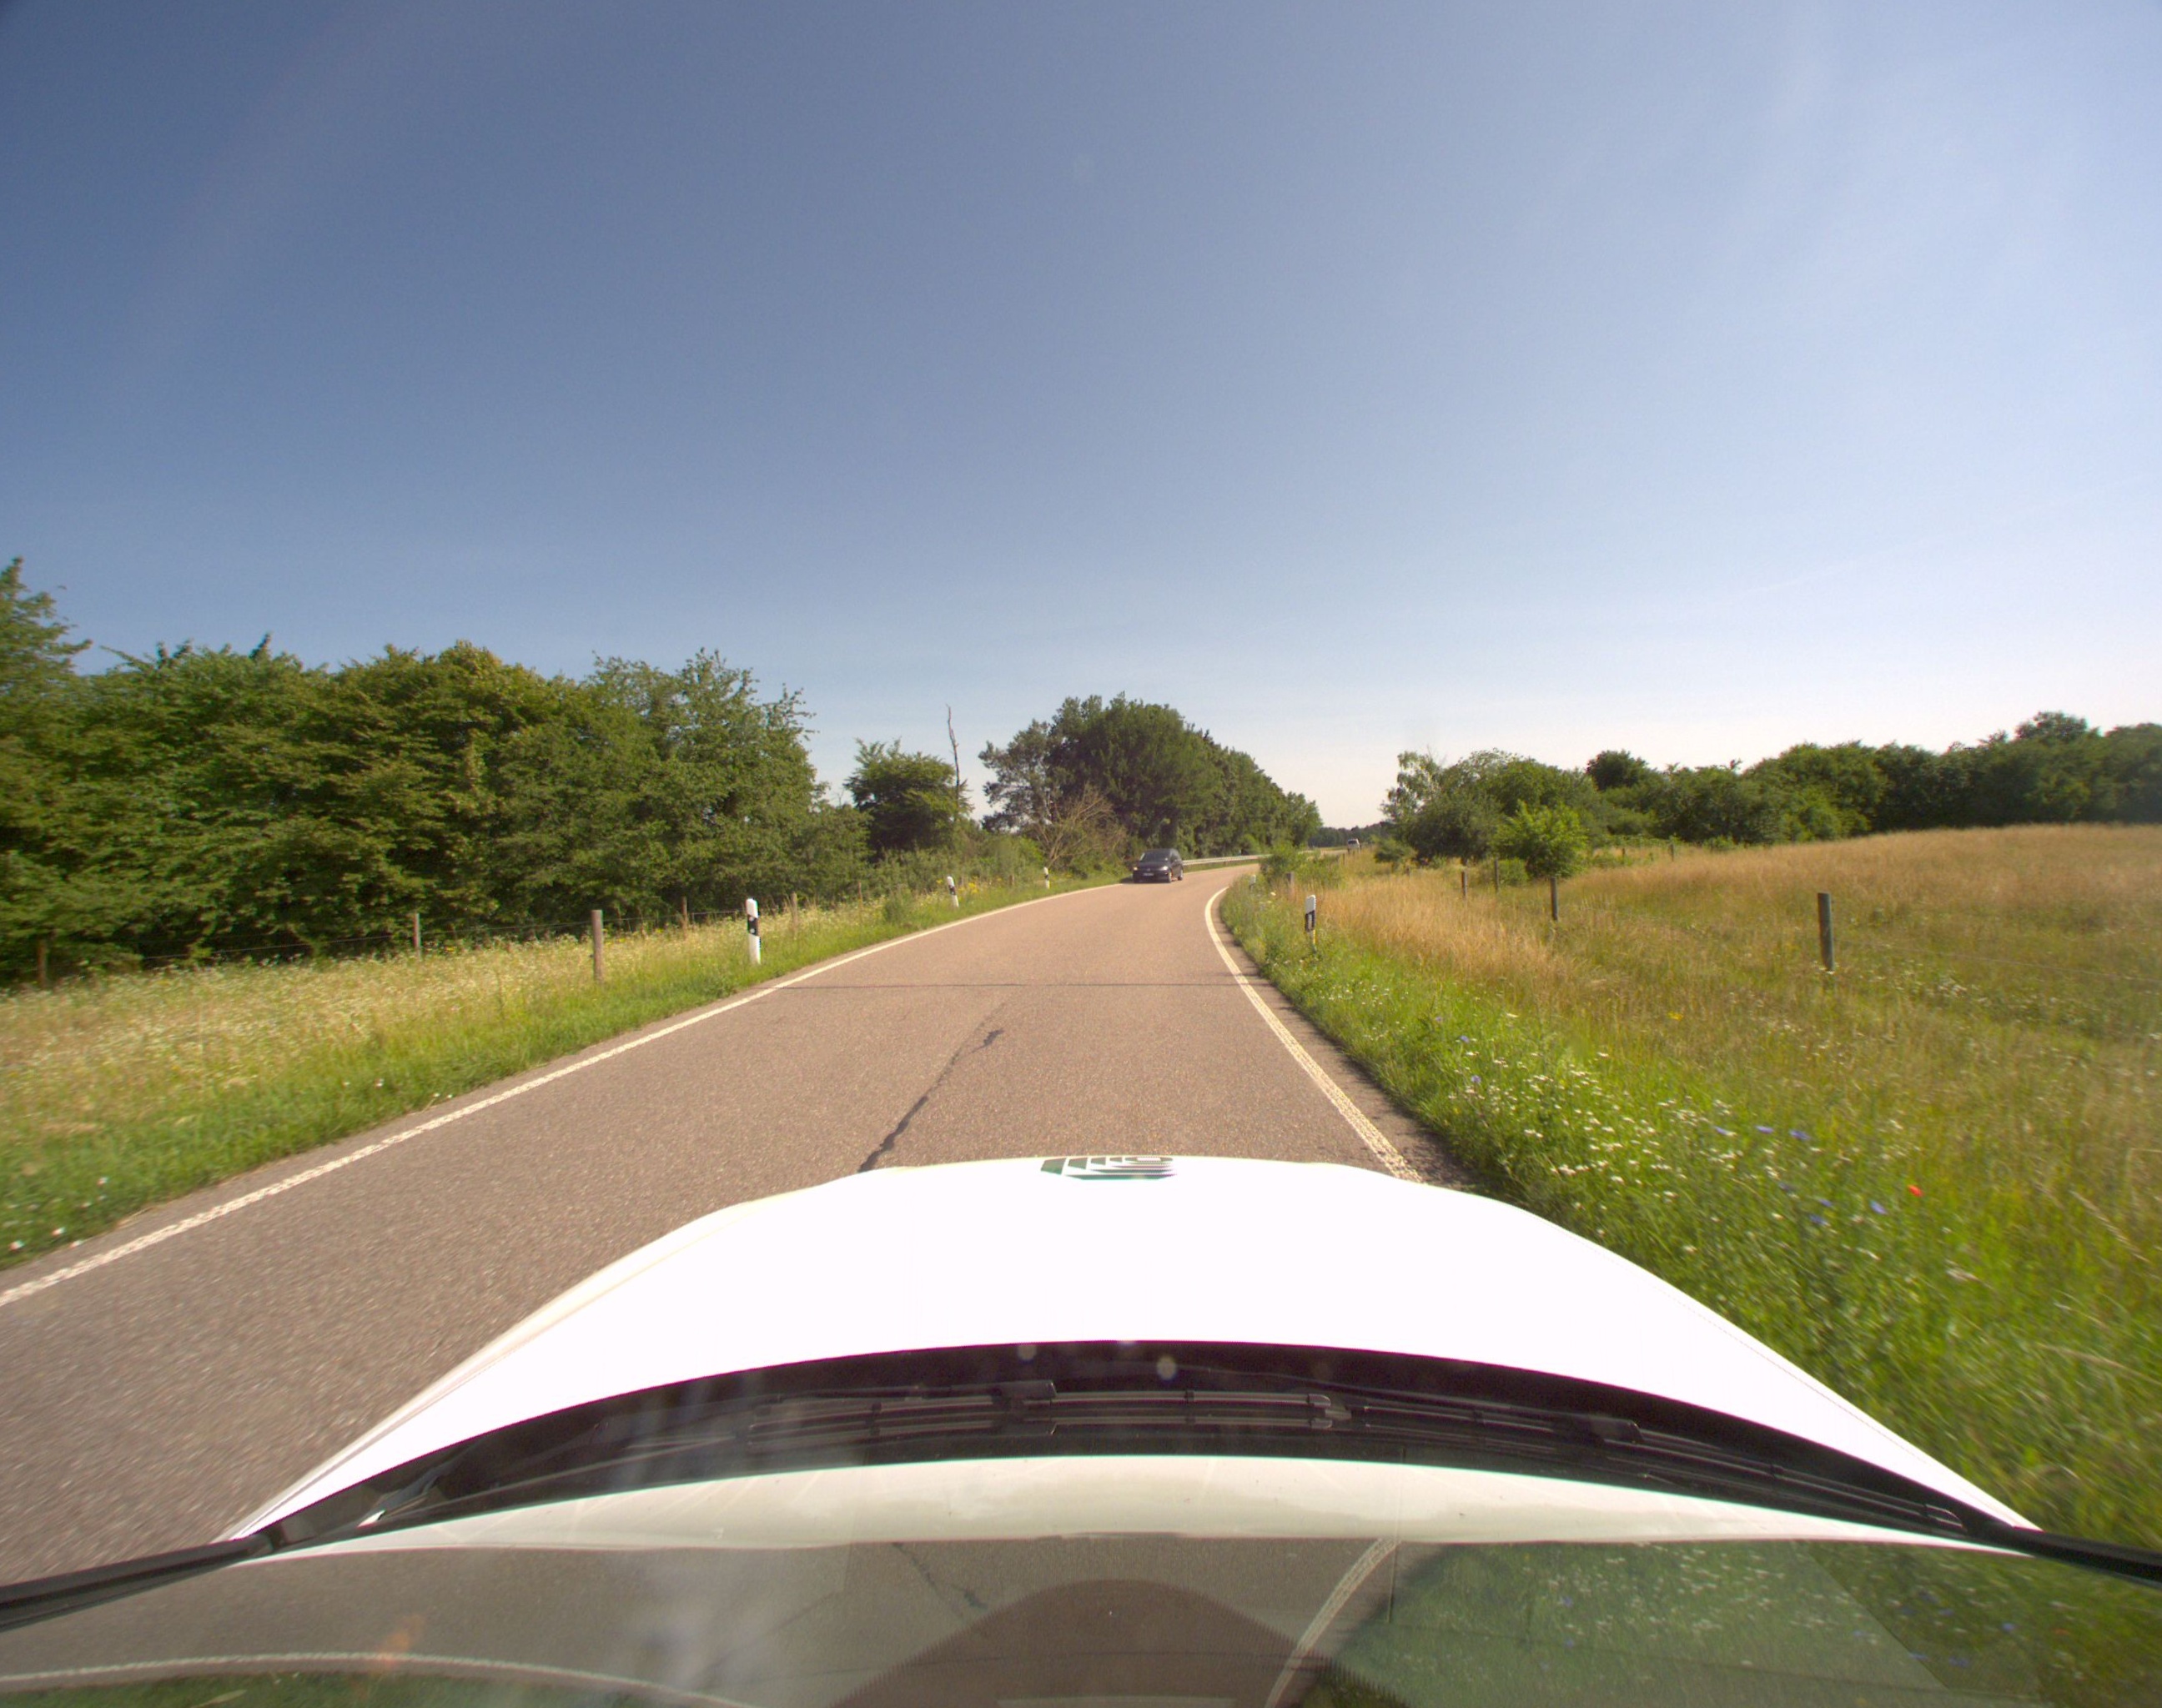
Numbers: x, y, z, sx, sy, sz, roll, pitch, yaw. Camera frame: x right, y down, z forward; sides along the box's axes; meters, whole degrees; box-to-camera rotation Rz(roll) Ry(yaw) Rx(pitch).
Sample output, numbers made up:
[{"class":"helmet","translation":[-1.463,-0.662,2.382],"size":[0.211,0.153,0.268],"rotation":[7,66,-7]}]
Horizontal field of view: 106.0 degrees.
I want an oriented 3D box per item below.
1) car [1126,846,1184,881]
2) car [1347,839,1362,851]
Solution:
[{"class":"car","translation":[3.703,0.483,40.155],"size":[1.768,1.632,4.182],"rotation":[-1,-1,21]},{"class":"car","translation":[44.802,-1.451,133.198],"size":[1.945,1.802,4.183],"rotation":[-1,-1,23]}]
